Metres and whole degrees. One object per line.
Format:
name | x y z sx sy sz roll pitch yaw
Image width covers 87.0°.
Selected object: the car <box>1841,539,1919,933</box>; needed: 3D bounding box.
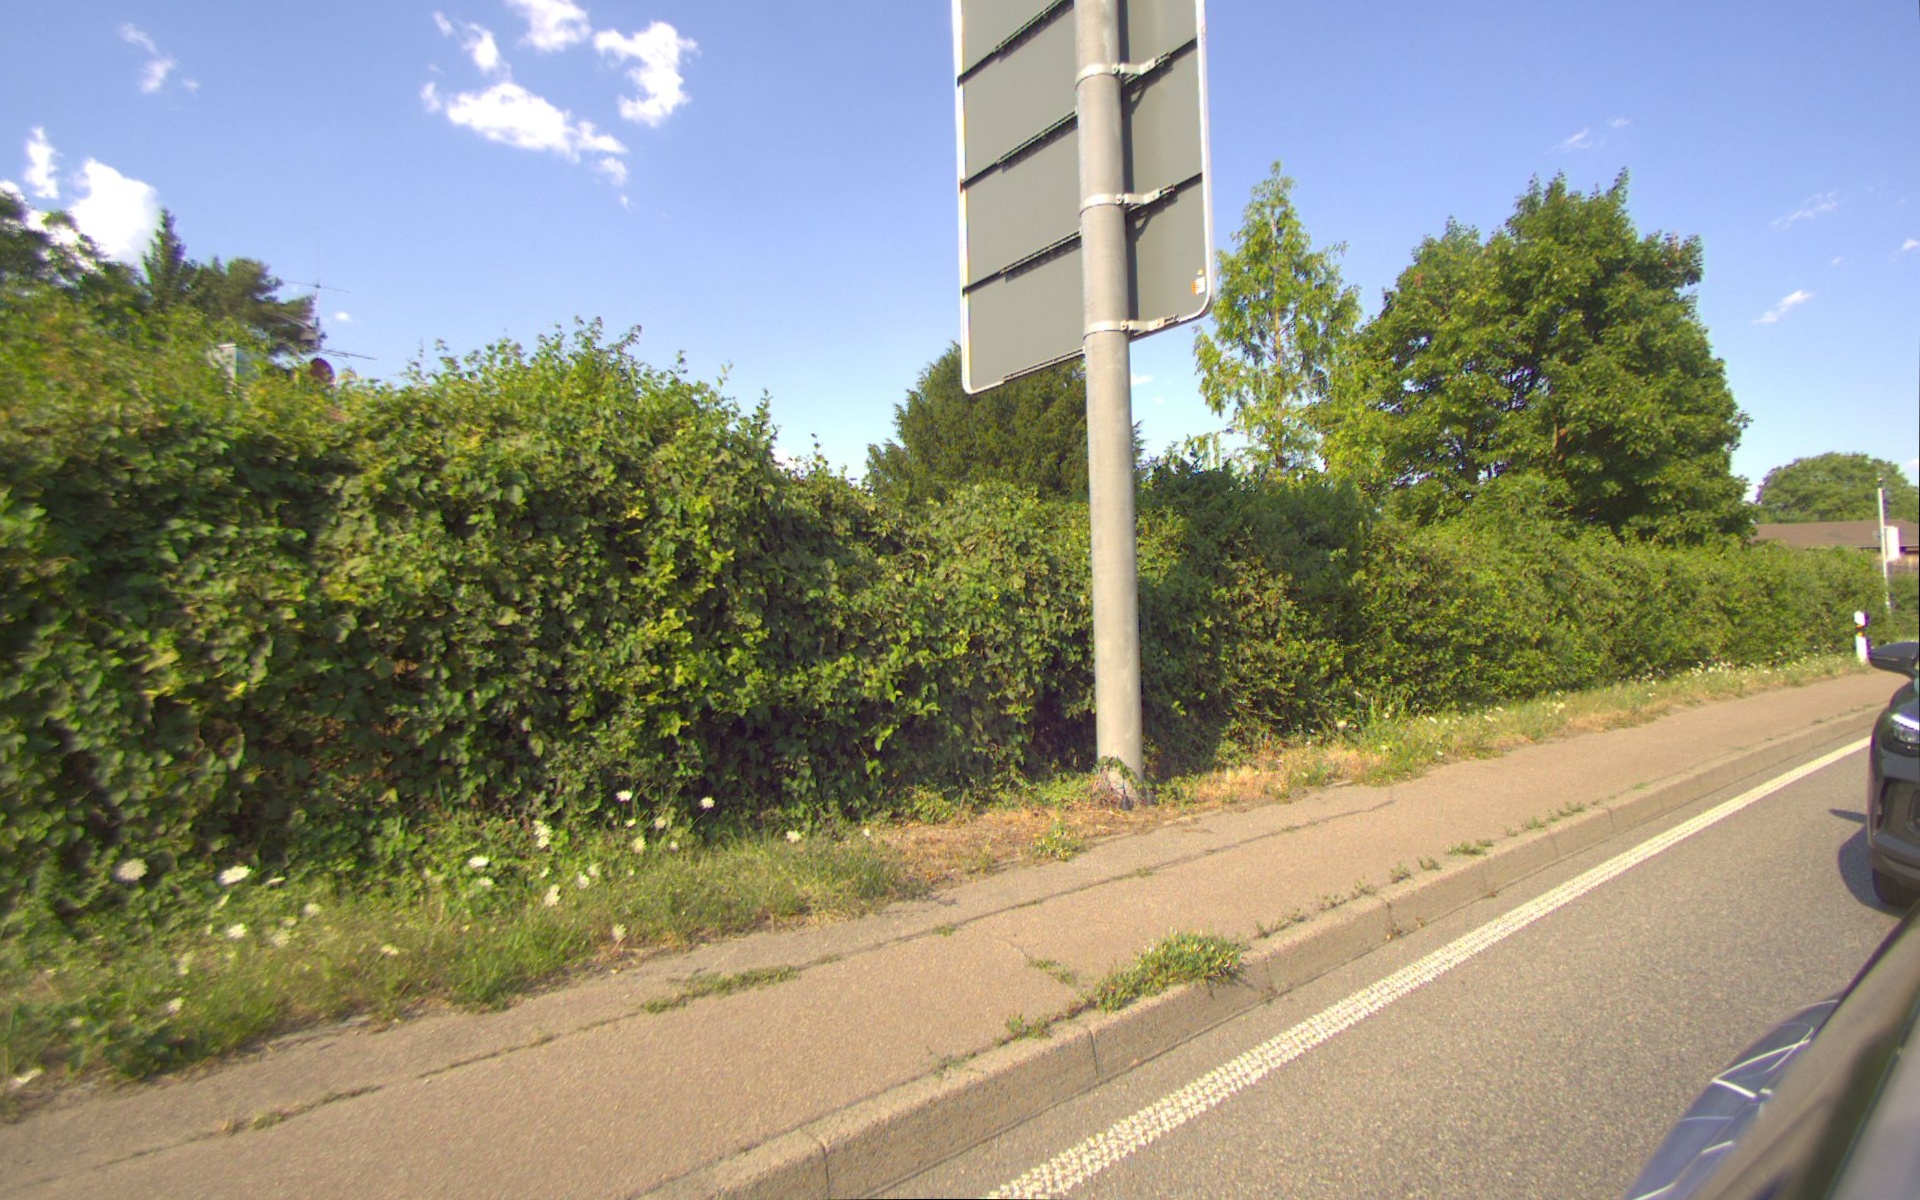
car | 5.968 0.541 5.001 3.931 1.662 1.865 -2 2 -40
